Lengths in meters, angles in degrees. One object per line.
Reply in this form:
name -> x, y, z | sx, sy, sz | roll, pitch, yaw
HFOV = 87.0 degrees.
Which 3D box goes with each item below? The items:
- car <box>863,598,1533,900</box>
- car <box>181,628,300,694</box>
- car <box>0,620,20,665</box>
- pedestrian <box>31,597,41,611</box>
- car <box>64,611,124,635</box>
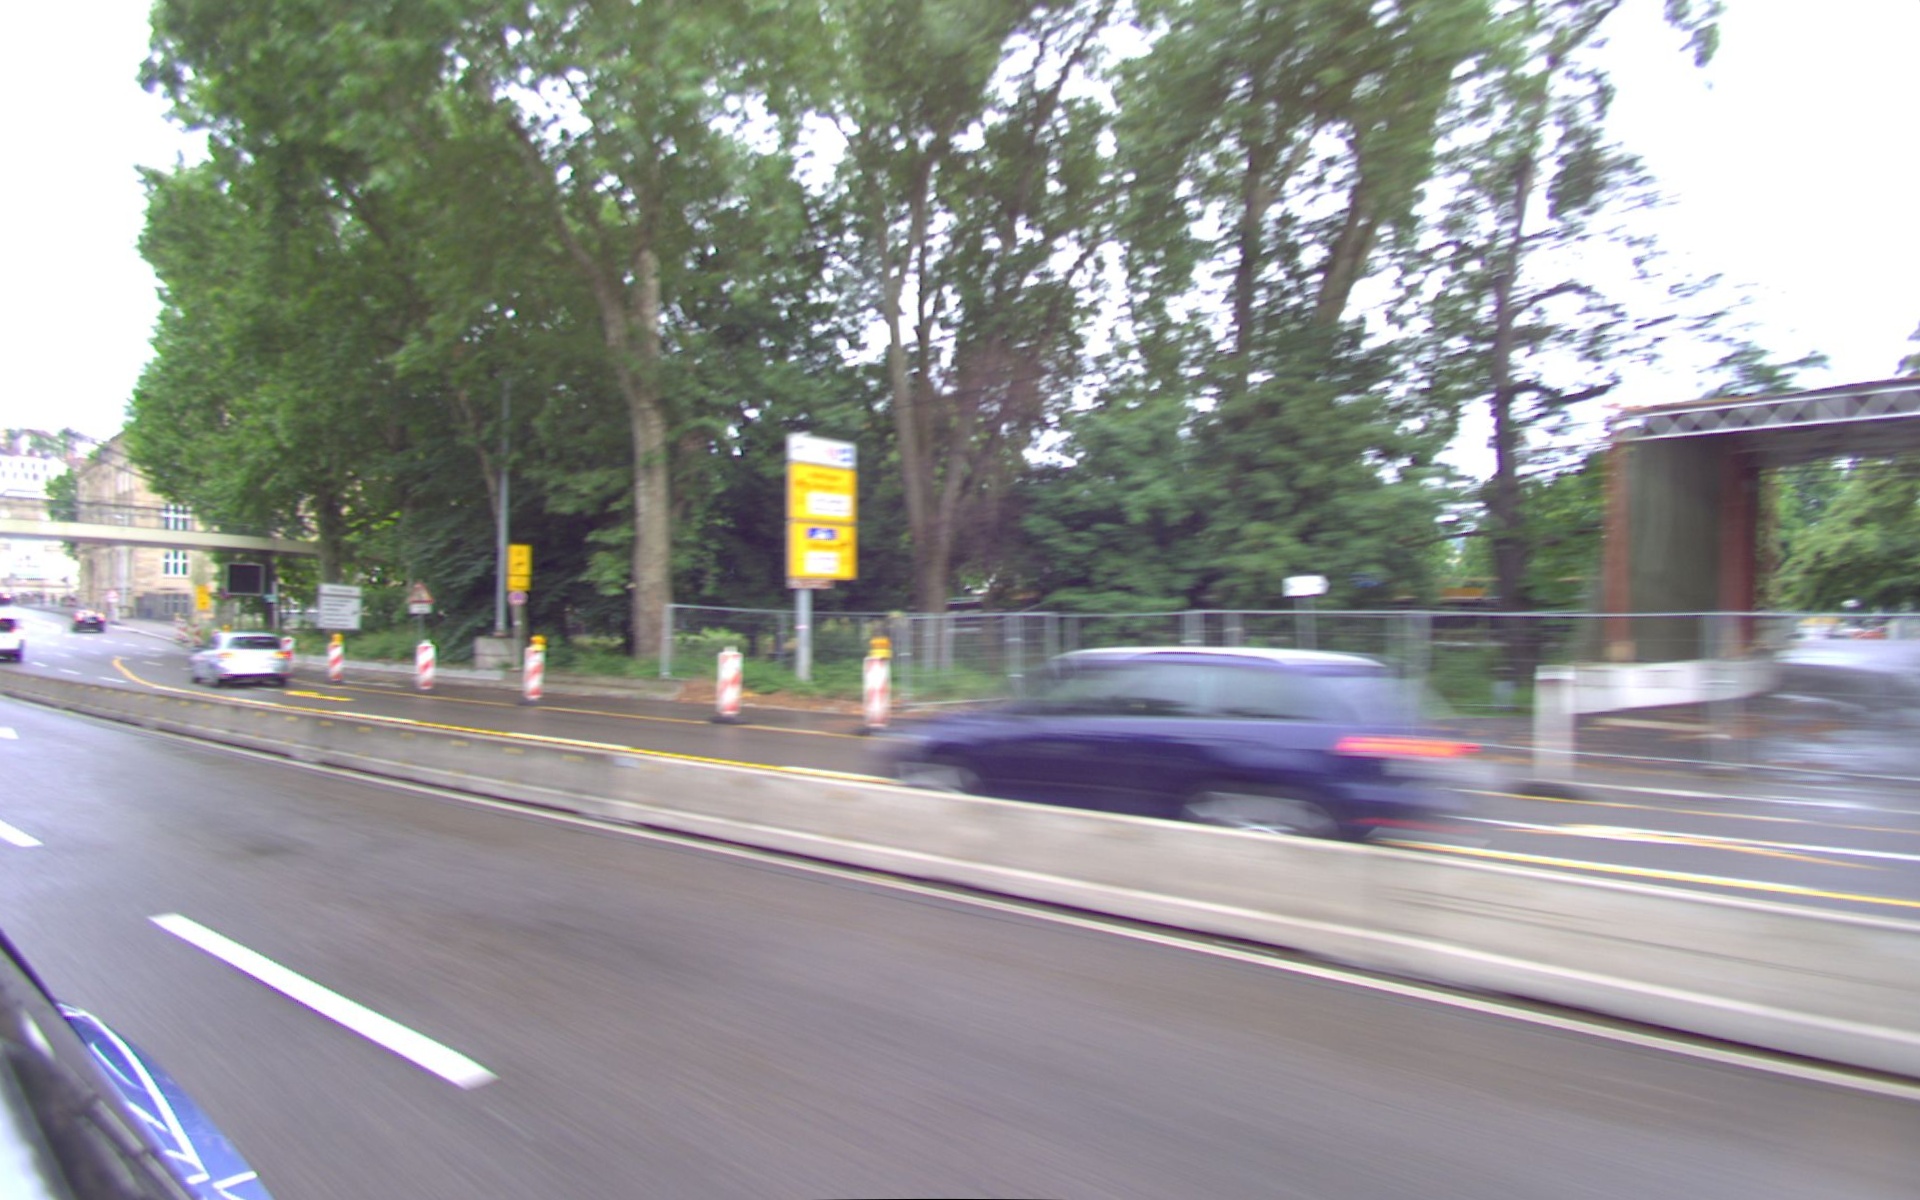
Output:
car -> 1.664, 0.870, 7.753 | 4.570, 1.552, 1.976 | 2, -2, 35
car -> -20.173, 1.670, 28.331 | 4.090, 1.552, 1.849 | 2, -2, 43
car -> -38.169, 1.583, 39.202 | 4.909, 1.666, 2.009 | 0, -3, 41
pedestrian -> -110.097, 0.456, 120.542 | 0.733, 1.596, 0.611 | 2, -2, 33
car -> -63.893, 1.710, 74.741 | 2.002, 1.666, 4.332 | 1, -2, -21
